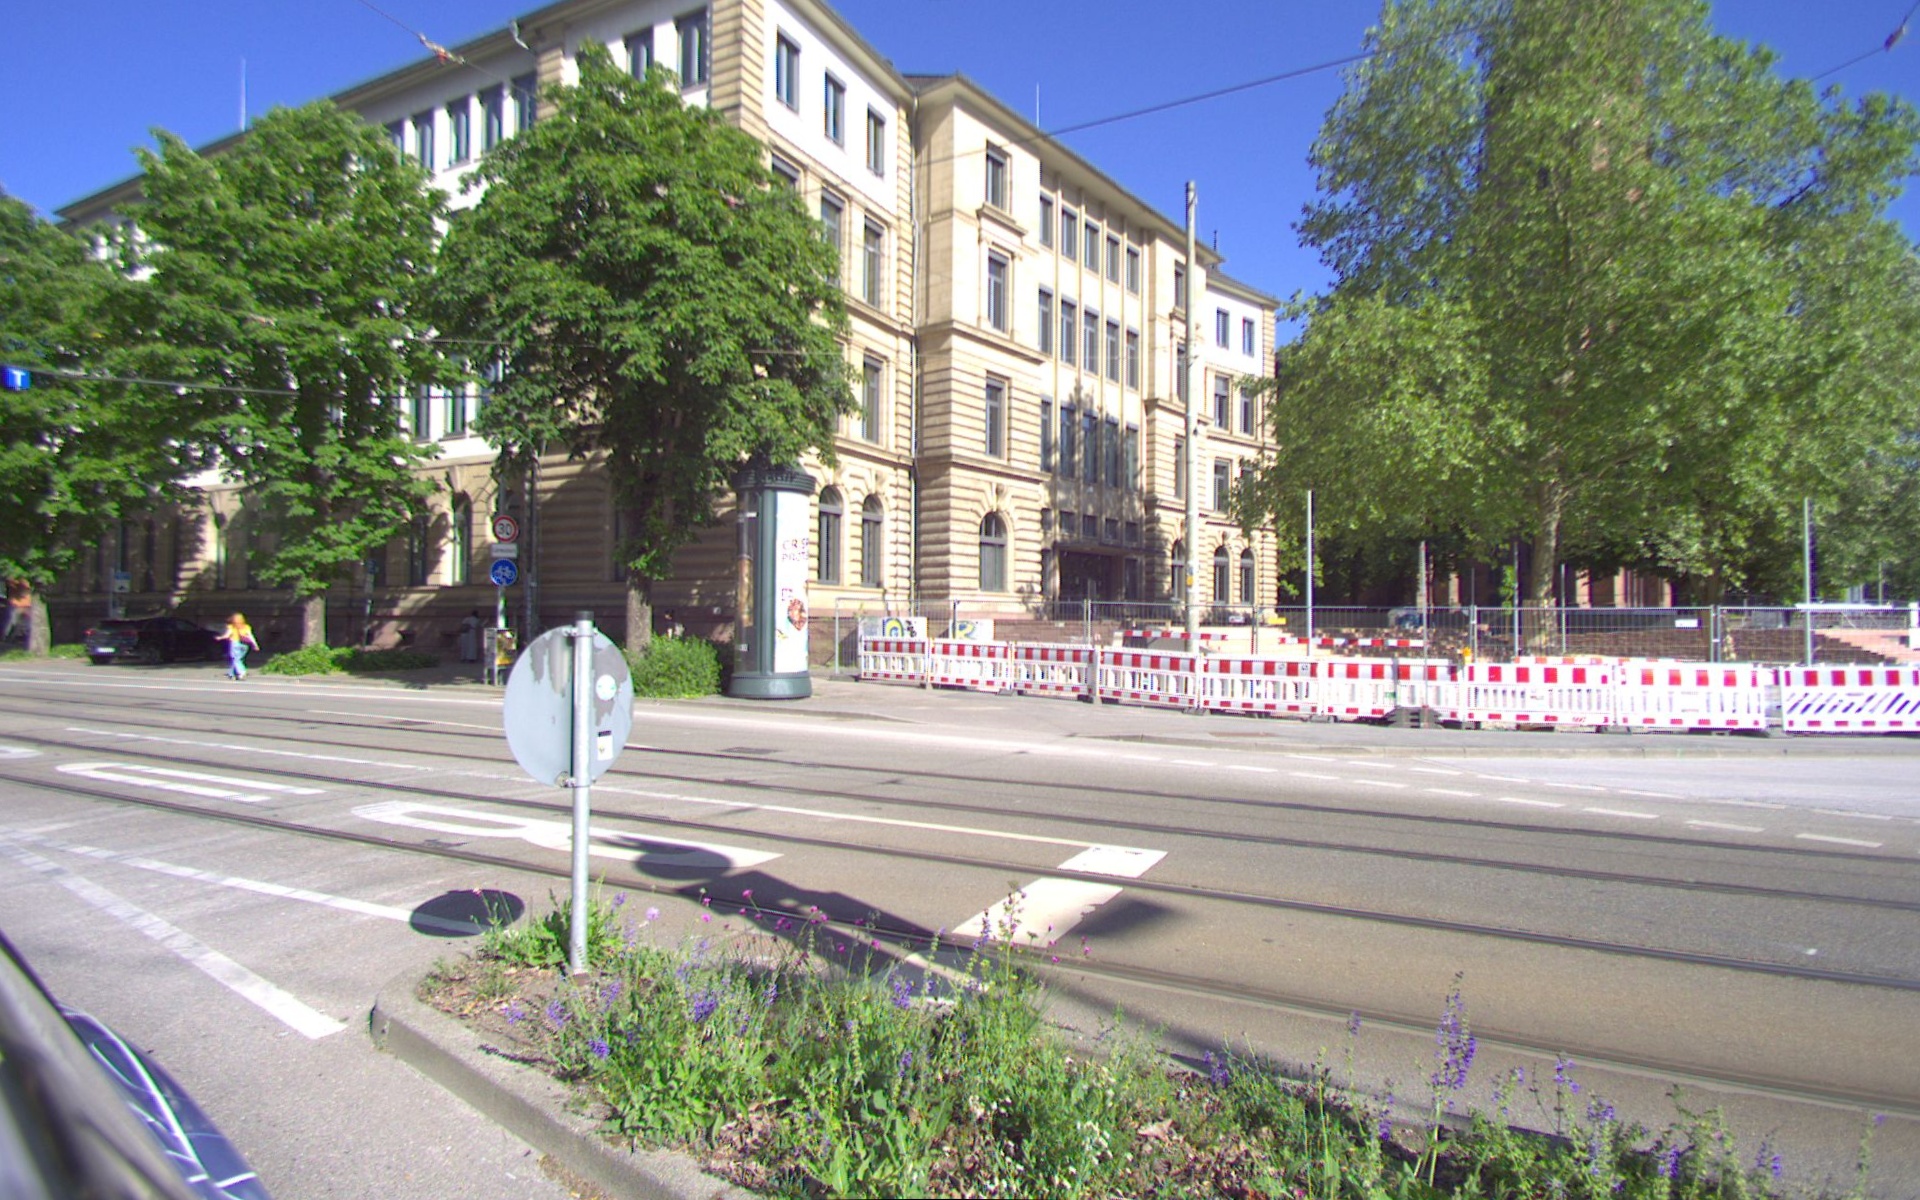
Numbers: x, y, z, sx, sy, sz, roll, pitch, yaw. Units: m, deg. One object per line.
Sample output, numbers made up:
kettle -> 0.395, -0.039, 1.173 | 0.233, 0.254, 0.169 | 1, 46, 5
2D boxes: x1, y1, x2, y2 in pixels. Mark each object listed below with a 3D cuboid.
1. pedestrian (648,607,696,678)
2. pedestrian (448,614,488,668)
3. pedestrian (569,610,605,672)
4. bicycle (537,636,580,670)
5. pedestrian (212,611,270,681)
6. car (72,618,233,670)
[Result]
pedestrian -> -7.123, 1.036, 25.021 | 0.838, 1.682, 0.726 | 2, 0, 15
pedestrian -> -15.013, 1.228, 30.903 | 0.666, 1.578, 0.855 | -1, 2, 12
pedestrian -> -9.618, 1.061, 26.098 | 0.651, 1.574, 0.573 | -1, -2, 29
bicycle -> -11.477, 1.500, 28.940 | 1.356, 0.910, 0.394 | 0, 0, 31
pedestrian -> -18.024, 1.169, 25.386 | 1.028, 1.682, 0.765 | -5, -6, 26
car -> -26.007, 1.385, 32.784 | 1.895, 1.586, 4.108 | 0, -2, 1
